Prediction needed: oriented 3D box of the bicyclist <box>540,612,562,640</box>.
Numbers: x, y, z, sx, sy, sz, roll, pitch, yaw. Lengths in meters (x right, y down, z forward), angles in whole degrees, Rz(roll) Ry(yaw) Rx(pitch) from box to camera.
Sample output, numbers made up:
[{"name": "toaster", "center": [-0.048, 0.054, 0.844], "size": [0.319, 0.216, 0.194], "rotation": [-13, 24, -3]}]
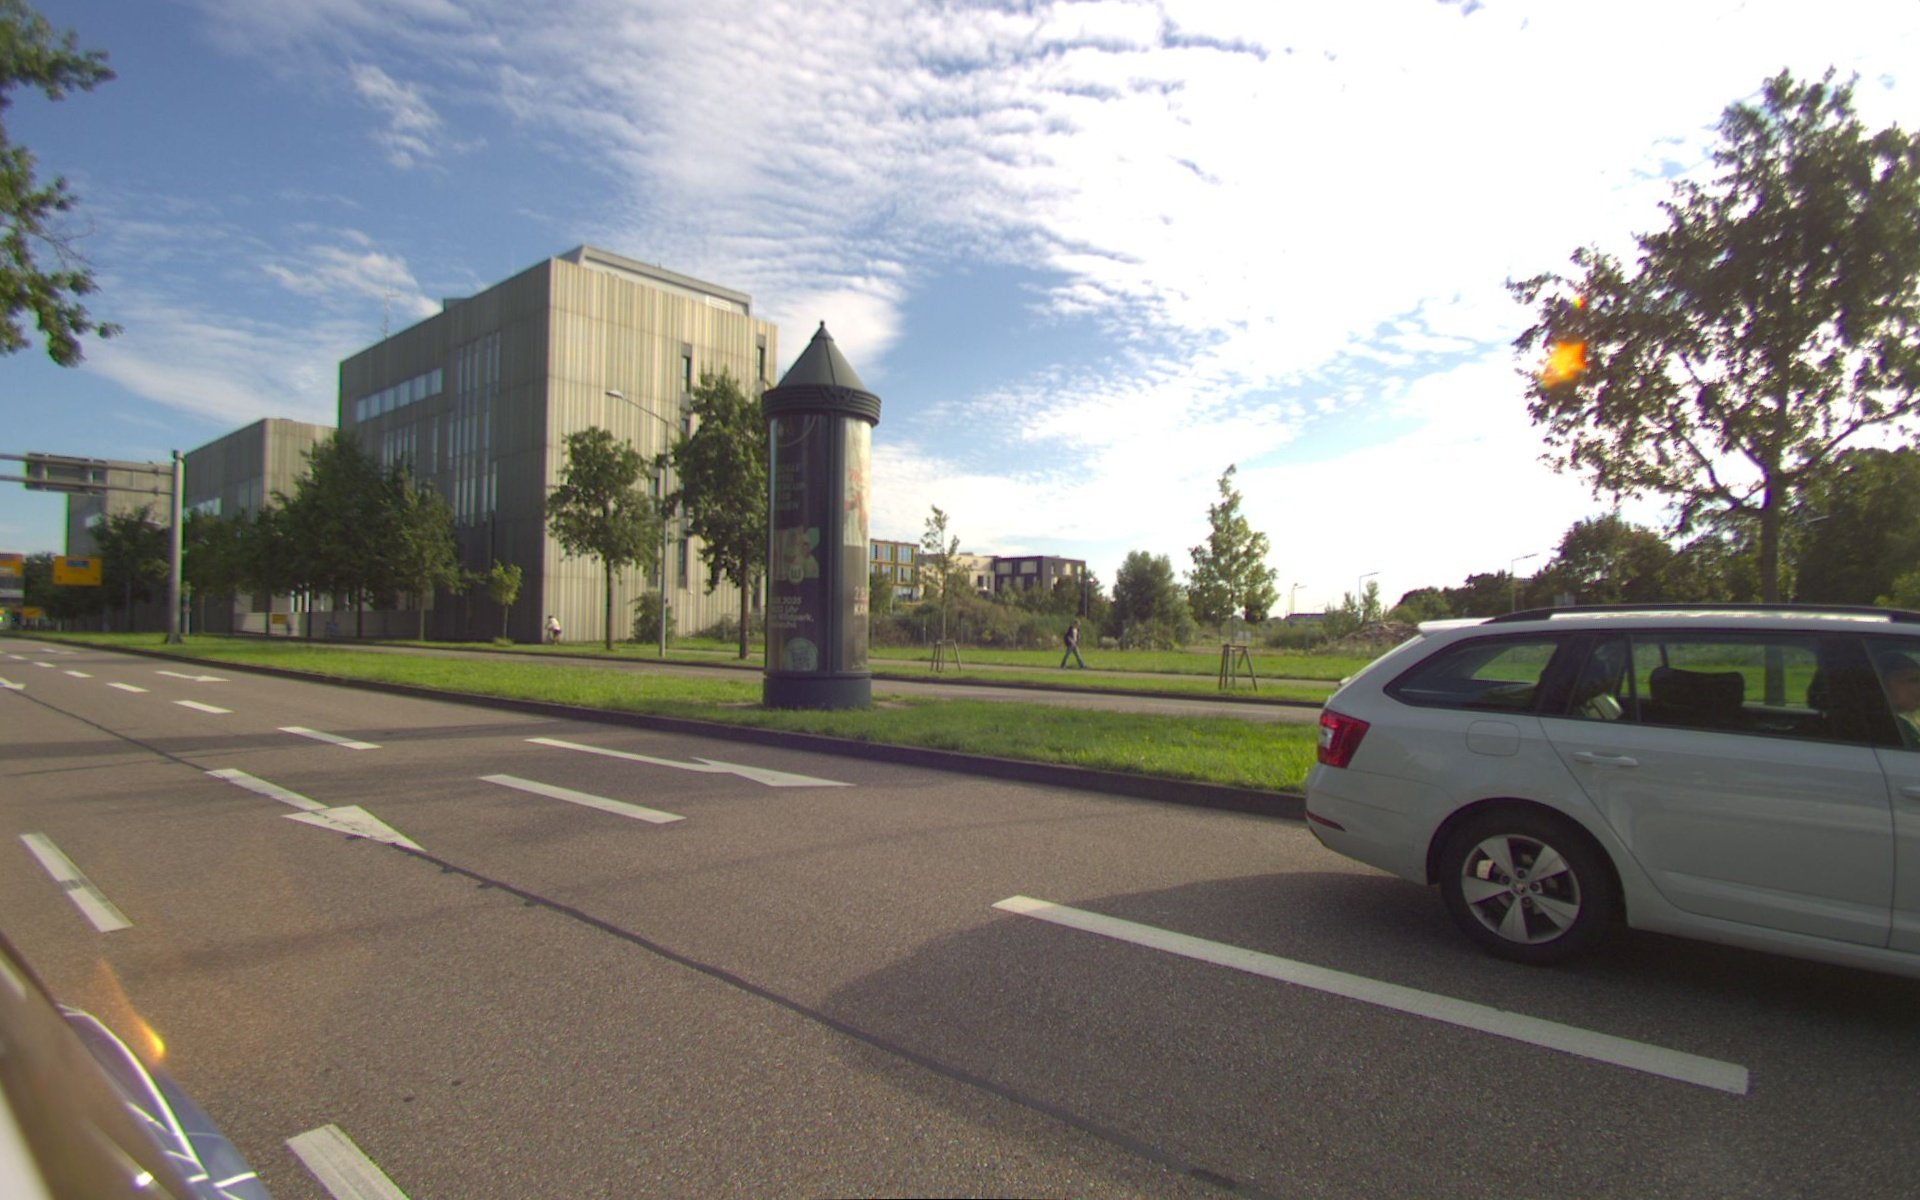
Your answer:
[{"name": "bicyclist", "center": [-22.225, 1.406, 54.968], "size": [0.989, 1.537, 0.698], "rotation": [-1, -3, 41]}]

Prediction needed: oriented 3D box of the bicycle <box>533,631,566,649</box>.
[{"name": "bicycle", "center": [-22.349, 2.165, 55.048], "size": [1.910, 0.989, 0.885], "rotation": [-1, -3, 41]}]

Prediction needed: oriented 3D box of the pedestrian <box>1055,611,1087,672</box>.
[{"name": "pedestrian", "center": [3.789, 1.409, 34.440], "size": [0.867, 2.029, 0.667], "rotation": [-1, -3, 41]}]

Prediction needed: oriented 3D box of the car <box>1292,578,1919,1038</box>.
[{"name": "car", "center": [3.787, 0.690, 3.900], "size": [4.479, 1.510, 1.681], "rotation": [-1, -1, 41]}]
